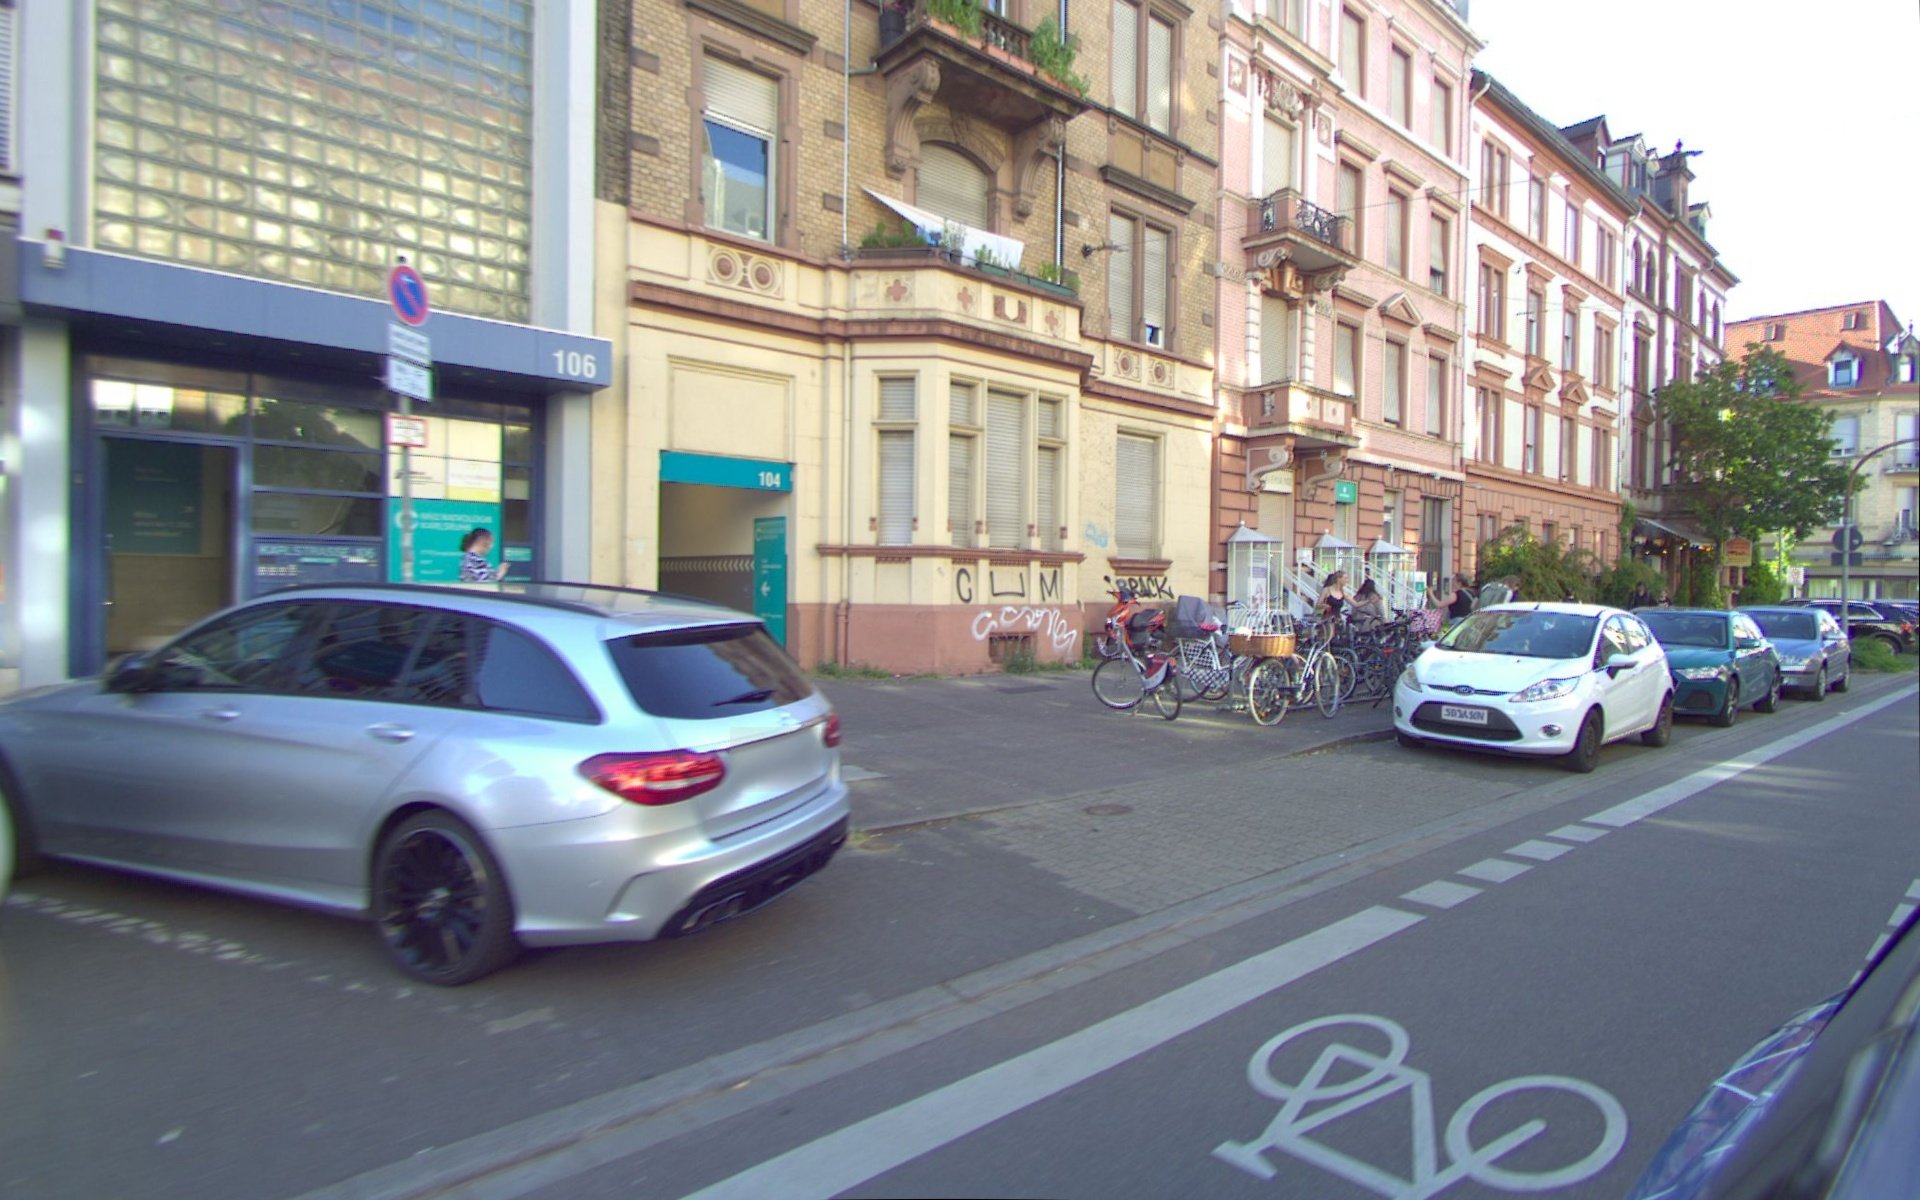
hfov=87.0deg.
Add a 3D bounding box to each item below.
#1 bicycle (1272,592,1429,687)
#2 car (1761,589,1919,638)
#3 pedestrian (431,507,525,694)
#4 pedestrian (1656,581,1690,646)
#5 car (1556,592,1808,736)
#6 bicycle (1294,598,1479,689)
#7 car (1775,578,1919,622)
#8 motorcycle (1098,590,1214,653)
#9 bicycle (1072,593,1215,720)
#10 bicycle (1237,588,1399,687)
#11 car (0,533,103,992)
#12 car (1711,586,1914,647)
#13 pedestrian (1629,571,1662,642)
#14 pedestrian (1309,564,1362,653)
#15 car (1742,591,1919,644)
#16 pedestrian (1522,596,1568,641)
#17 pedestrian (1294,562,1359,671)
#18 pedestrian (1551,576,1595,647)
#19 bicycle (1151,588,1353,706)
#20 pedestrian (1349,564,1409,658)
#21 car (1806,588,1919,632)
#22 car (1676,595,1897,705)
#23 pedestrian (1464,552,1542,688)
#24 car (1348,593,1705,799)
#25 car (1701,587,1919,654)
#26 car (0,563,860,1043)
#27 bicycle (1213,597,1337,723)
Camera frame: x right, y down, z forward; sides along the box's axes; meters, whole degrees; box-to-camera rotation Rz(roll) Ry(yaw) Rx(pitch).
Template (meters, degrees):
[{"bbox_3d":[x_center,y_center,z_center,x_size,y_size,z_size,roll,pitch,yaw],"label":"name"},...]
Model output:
[{"bbox_3d":[5.518,0.515,14.401,0.652,1.237,2.023,0,1,-41],"label":"bicycle"},{"bbox_3d":[31.121,0.438,35.455,4.403,1.616,2.071,1,1,26],"label":"car"},{"bbox_3d":[-4.958,-0.003,10.409,0.714,1.828,0.721,0,0,-40],"label":"pedestrian"},{"bbox_3d":[18.595,0.335,26.391,0.848,1.669,0.519,0,0,-41],"label":"pedestrian"},{"bbox_3d":[9.763,0.720,13.586,3.930,1.616,1.877,-1,1,-41],"label":"car"},{"bbox_3d":[6.339,0.602,15.212,0.652,1.237,2.543,0,1,-40],"label":"bicycle"},{"bbox_3d":[33.001,-0.022,37.514,3.958,1.556,1.902,1,1,26],"label":"car"},{"bbox_3d":[3.450,0.349,17.650,2.474,1.003,0.508,-1,5,-41],"label":"motorcycle"},{"bbox_3d":[1.940,0.553,11.037,0.650,1.237,2.030,0,1,-18],"label":"bicycle"},{"bbox_3d":[4.815,0.462,13.746,0.652,1.237,2.023,0,1,-41],"label":"bicycle"},{"bbox_3d":[-5.101,0.528,3.405,3.740,1.506,1.826,0,1,21],"label":"car"},{"bbox_3d":[24.067,0.408,28.779,3.958,1.616,2.070,1,1,25],"label":"car"},{"bbox_3d":[17.827,0.158,26.319,0.848,1.800,0.519,0,0,-41],"label":"pedestrian"},{"bbox_3d":[7.006,0.151,18.883,0.643,1.627,0.713,0,0,-41],"label":"pedestrian"},{"bbox_3d":[28.968,0.538,33.668,4.287,1.616,2.028,1,1,26],"label":"car"},{"bbox_3d":[13.829,0.425,23.920,0.643,0.992,0.713,0,4,-41],"label":"pedestrian"},{"bbox_3d":[5.652,0.235,15.613,0.643,1.627,0.713,0,0,-41],"label":"pedestrian"},{"bbox_3d":[14.354,0.254,23.707,0.643,1.627,0.713,0,0,-41],"label":"pedestrian"},{"bbox_3d":[3.356,0.487,11.883,0.651,1.237,2.365,0,1,-37],"label":"bicycle"},{"bbox_3d":[7.583,0.185,18.334,0.643,1.626,0.713,0,4,-41],"label":"pedestrian"},{"bbox_3d":[35.491,0.362,38.811,4.320,1.616,1.837,1,1,26],"label":"car"},{"bbox_3d":[14.207,0.738,17.317,4.631,1.616,1.879,0,1,-37],"label":"car"},{"bbox_3d":[7.005,0.238,13.061,0.643,1.692,0.713,0,0,-41],"label":"pedestrian"},{"bbox_3d":[5.751,0.754,10.099,3.930,1.616,1.877,-1,1,-41],"label":"car"},{"bbox_3d":[22.049,0.467,26.227,4.272,1.616,1.965,1,1,26],"label":"car"},{"bbox_3d":[-2.772,0.619,4.719,4.399,1.527,1.526,0,1,21],"label":"car"},{"bbox_3d":[3.252,0.582,10.430,1.217,1.200,0.694,0,1,-41],"label":"bicycle"}]
